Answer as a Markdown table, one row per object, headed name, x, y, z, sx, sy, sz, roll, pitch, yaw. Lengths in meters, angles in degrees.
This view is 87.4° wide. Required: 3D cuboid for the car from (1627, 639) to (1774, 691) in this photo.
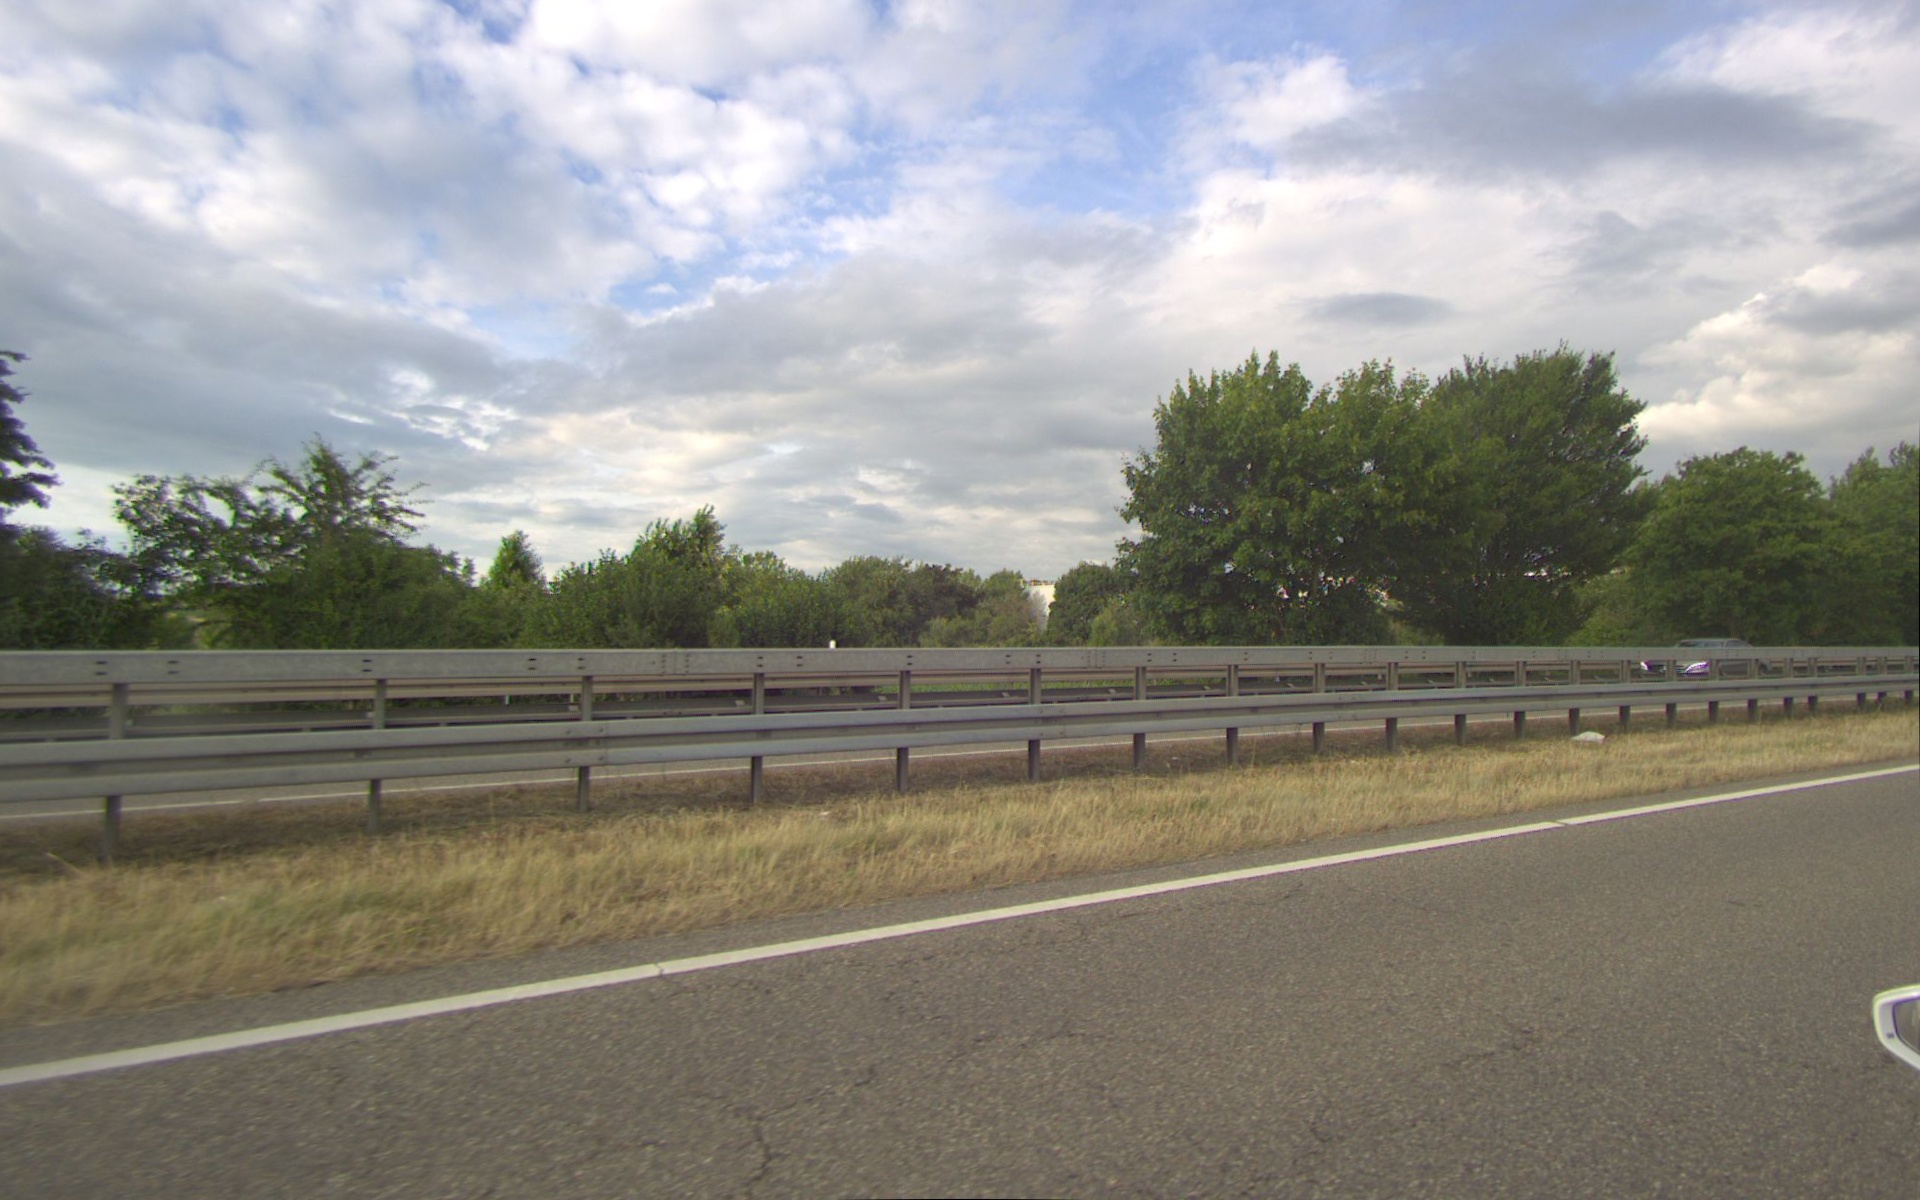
| name | x | y | z | sx | sy | sz | roll | pitch | yaw |
| --- | --- | --- | --- | --- | --- | --- | --- | --- | --- |
| car | 21.348 | 1.833 | 28.916 | 4.523 | 1.369 | 1.773 | 1 | -2 | -30 |
